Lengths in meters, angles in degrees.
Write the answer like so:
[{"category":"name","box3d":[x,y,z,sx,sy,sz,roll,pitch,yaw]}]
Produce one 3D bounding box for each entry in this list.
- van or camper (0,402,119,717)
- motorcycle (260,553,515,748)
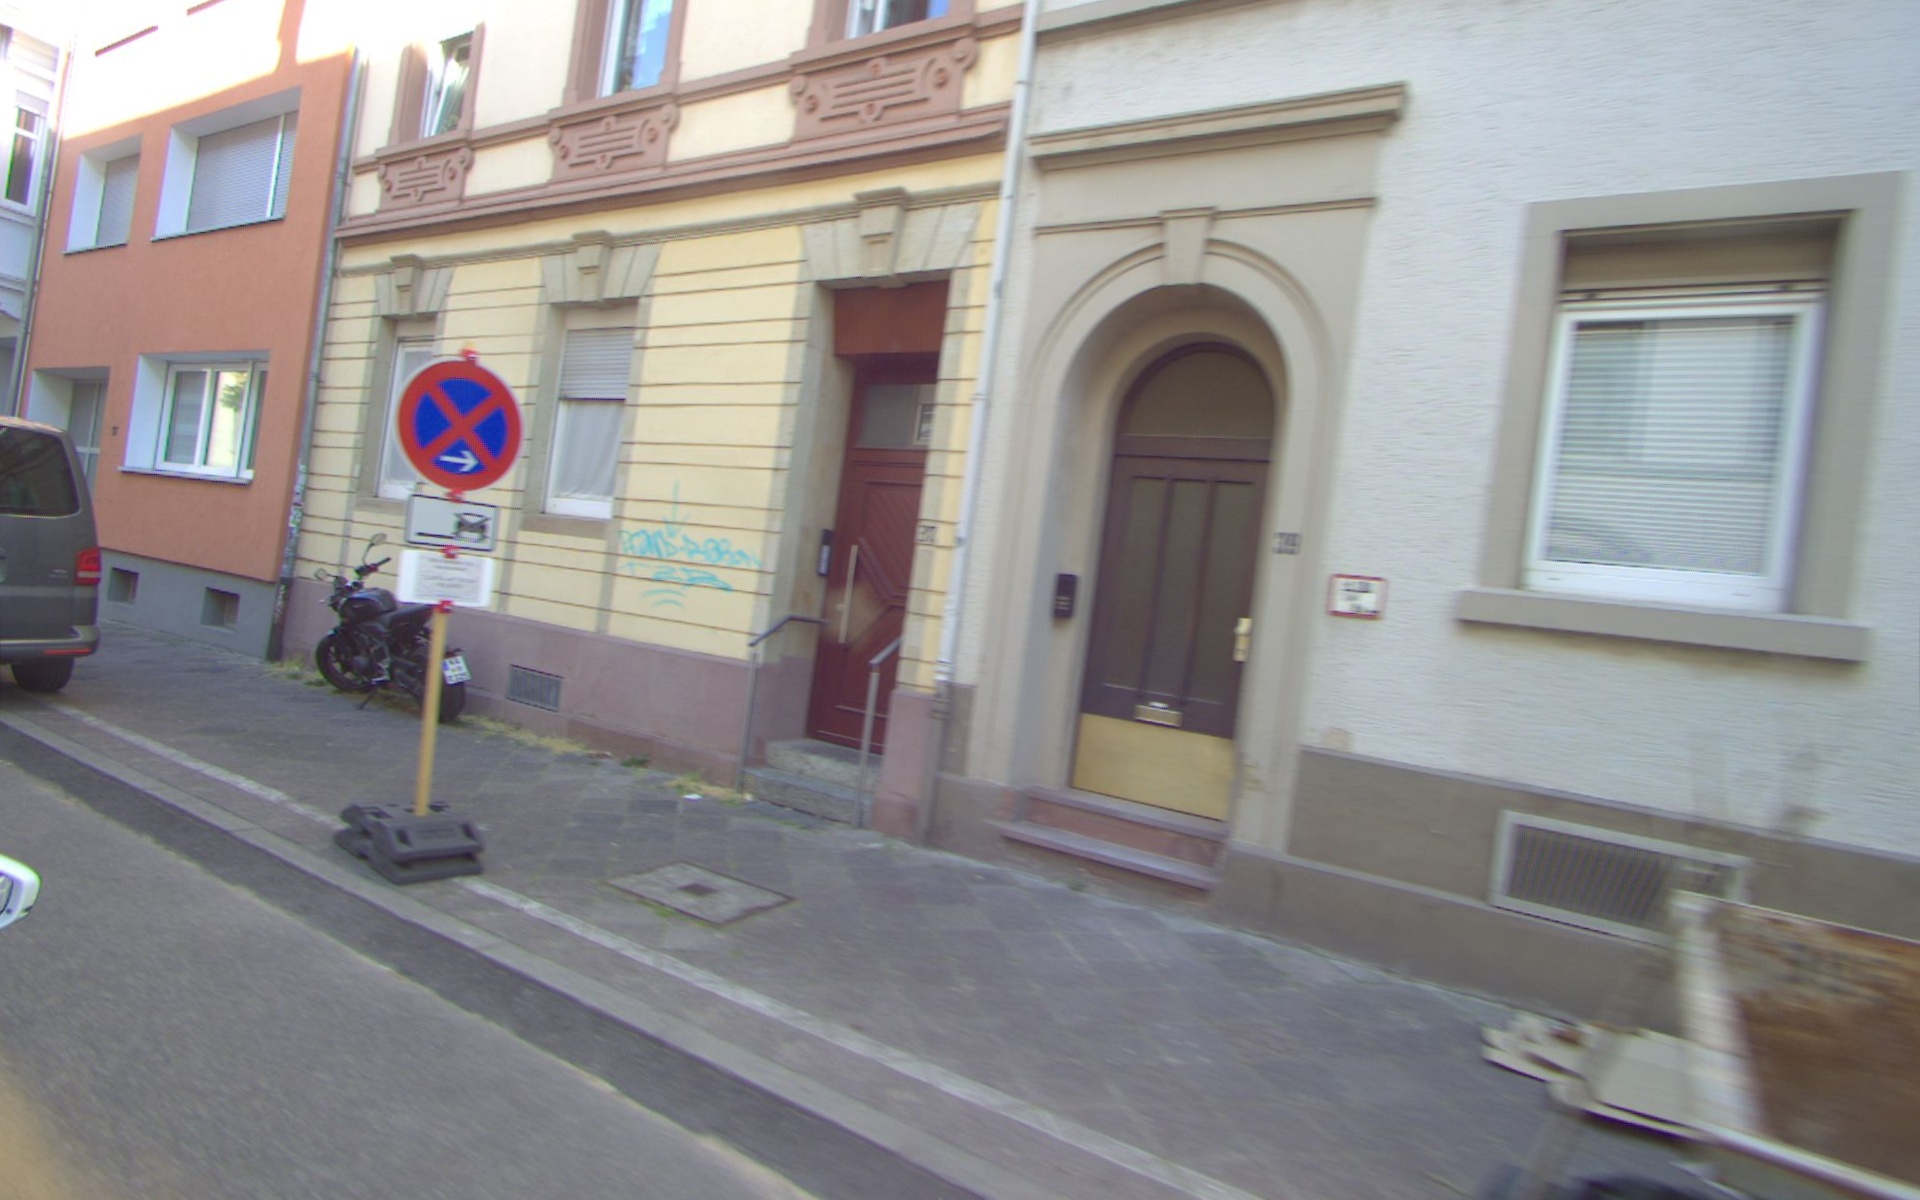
[{"category":"van or camper","box3d":[-8.386,-0.500,7.399,4.492,2.061,1.778,7,0,29]},{"category":"motorcycle","box3d":[-4.743,0.338,8.220,2.715,1.203,0.596,7,3,33]}]
